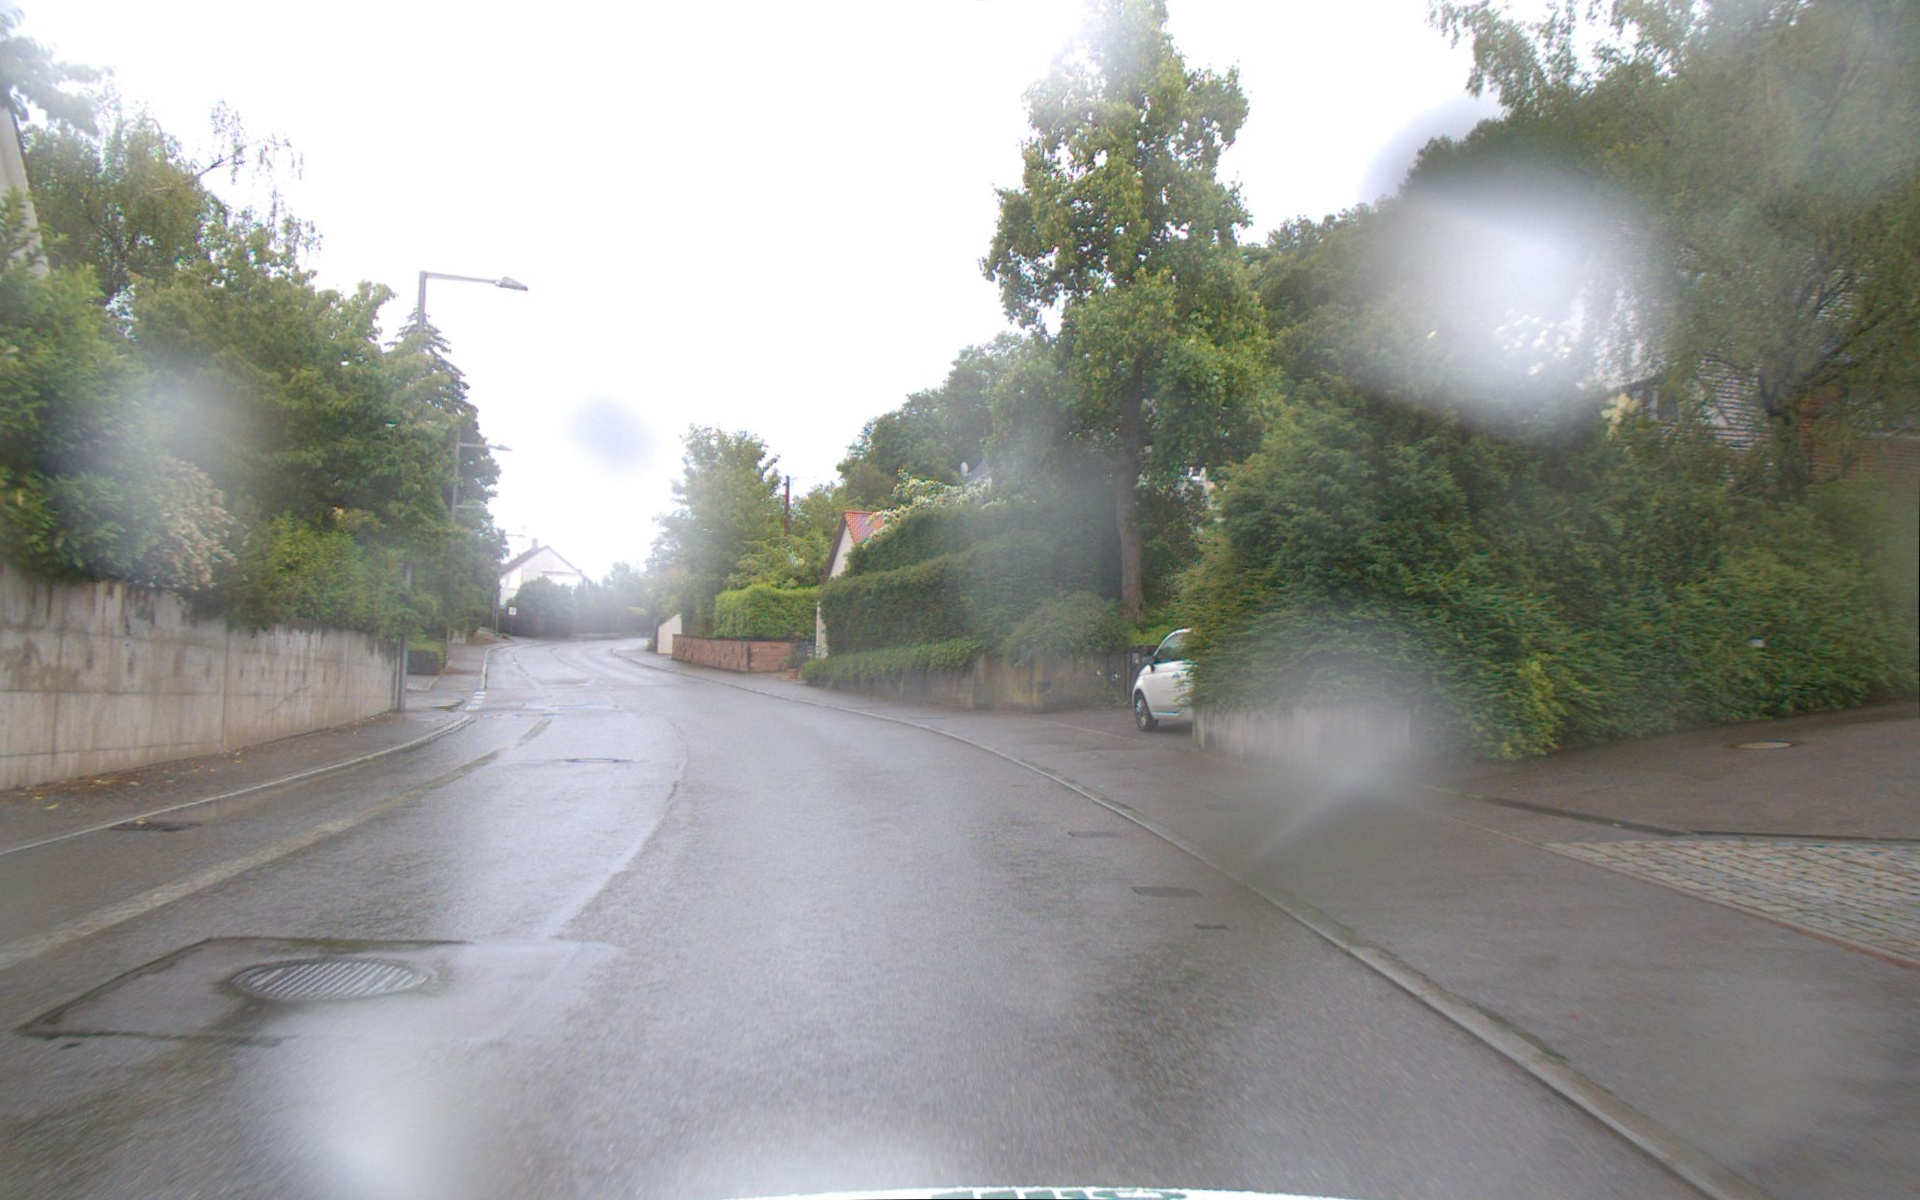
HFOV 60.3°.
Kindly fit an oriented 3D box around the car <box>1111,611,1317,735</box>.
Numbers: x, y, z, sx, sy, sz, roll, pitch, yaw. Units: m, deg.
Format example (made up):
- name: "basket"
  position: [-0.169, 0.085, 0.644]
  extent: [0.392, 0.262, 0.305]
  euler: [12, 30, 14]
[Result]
- name: "car"
  position: [3.589, 0.987, 24.033]
  extent: [1.507, 1.562, 3.830]
  euler: [-3, 0, -15]
